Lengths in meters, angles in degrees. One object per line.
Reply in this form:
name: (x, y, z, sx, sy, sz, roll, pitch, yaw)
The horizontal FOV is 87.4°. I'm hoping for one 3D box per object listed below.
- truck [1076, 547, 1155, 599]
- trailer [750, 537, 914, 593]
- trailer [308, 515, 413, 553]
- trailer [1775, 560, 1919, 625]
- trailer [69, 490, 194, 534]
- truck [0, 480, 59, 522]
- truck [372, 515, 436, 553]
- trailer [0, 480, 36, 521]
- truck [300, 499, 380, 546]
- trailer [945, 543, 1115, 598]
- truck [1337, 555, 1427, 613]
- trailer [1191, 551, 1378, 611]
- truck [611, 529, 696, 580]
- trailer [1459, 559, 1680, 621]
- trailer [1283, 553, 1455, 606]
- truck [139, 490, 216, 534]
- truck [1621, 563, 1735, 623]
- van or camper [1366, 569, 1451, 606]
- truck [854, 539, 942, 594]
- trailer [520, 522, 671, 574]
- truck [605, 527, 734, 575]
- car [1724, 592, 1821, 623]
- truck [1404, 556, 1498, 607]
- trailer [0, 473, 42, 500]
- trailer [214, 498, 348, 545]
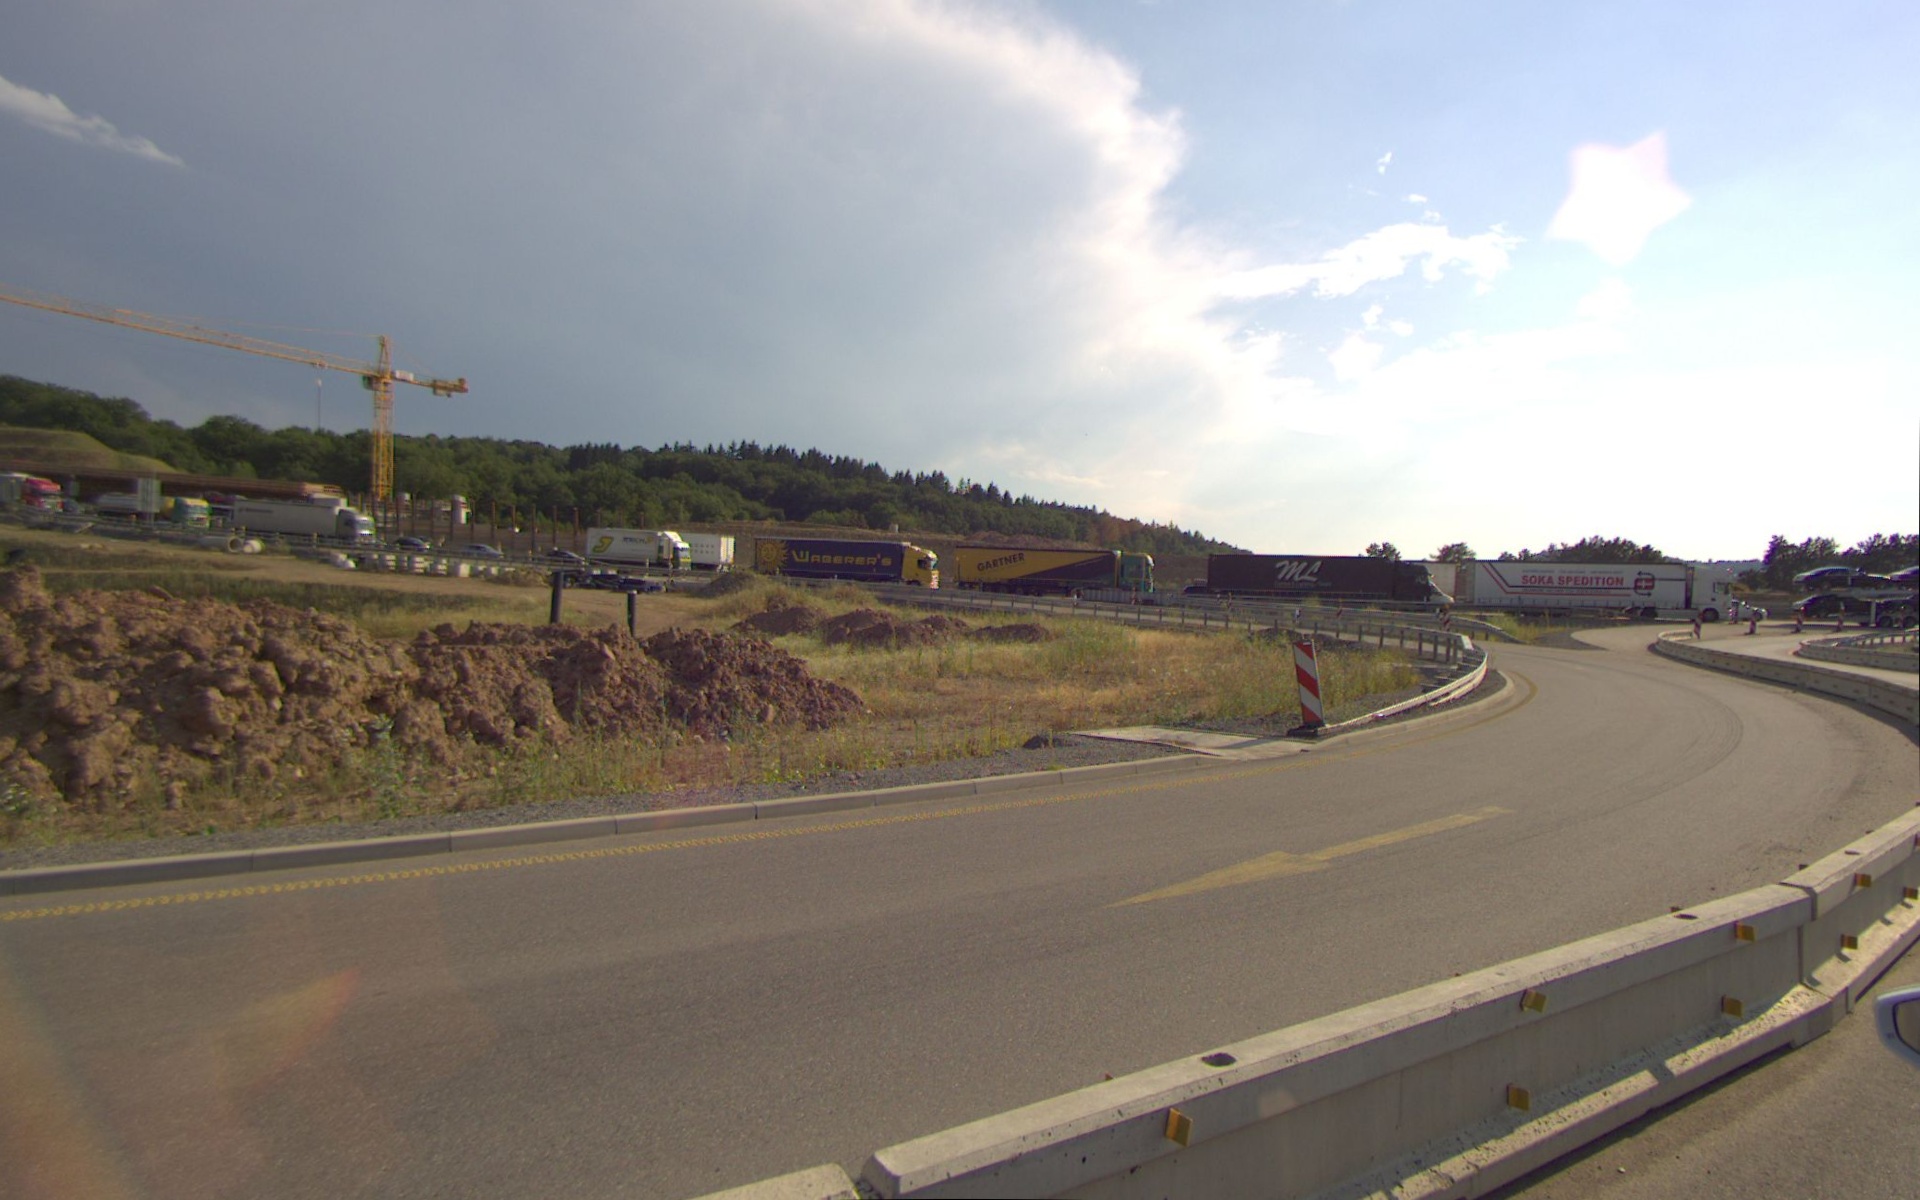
truck: (12.559, -2.164, 80.930, 5.890, 3.954, 2.489, 2, 2, 15)
trailer: (-11.156, -3.067, 87.388, 13.965, 4.371, 3.115, 2, 0, 16)
trailer: (-76.237, -8.392, 127.645, 13.969, 4.371, 3.114, 2, 0, 19)
trailer: (64.214, -0.367, 66.941, 15.428, 4.050, 2.867, 2, 2, 15)
trailer: (-91.109, -9.708, 110.443, 13.965, 4.371, 3.115, 2, 0, 16)
truck: (-106.475, -11.258, 113.932, 6.758, 4.371, 3.115, 2, 0, 16)
truck: (-69.311, -8.182, 125.243, 6.759, 4.371, 3.114, 2, 0, 19)
trailer: (-113.514, -11.531, 115.952, 13.965, 4.371, 3.115, 2, 0, 16)
truck: (-62.769, -7.805, 101.710, 6.758, 4.371, 3.115, 2, 0, 16)
trailer: (5.712, -2.455, 82.805, 13.694, 4.012, 2.489, 2, 2, 15)
truck: (31.736, -1.263, 75.786, 5.891, 4.115, 2.489, 2, 2, 16)
trailer: (24.856, -1.523, 77.667, 13.356, 4.116, 2.489, 2, 2, 15)
truck: (-28.064, -4.190, 92.105, 6.758, 4.371, 3.115, 2, 0, 16)
trailer: (43.749, -0.753, 72.633, 13.356, 3.931, 2.489, 2, 2, 15)
trailer: (34.571, -1.803, 85.527, 13.204, 4.050, 2.867, 2, 2, 15)
truck: (-84.422, -9.440, 108.438, 6.758, 4.371, 3.115, 2, 0, 16)
truck: (50.530, -0.515, 70.860, 5.890, 3.931, 2.489, 2, 2, 15)
van or camper: (35.095, -1.024, 78.758, 5.786, 2.655, 2.000, 2, 2, 18)
truck: (-5.267, -2.817, 85.748, 6.758, 4.371, 3.115, 2, 0, 16)
trailer: (-34.085, -4.861, 93.799, 13.965, 4.371, 3.115, 2, 0, 16)
truck: (-30.182, -5.084, 104.339, 12.911, 4.470, 3.574, 2, 0, 17)
car: (58.062, 0.508, 71.904, 4.879, 2.008, 2.035, 2, 3, 16)
truck: (40.892, -1.561, 83.894, 6.491, 4.050, 2.858, 2, 2, 15)
trailer: (-135.560, -16.213, 142.858, 10.950, 3.561, 1.973, 2, 0, 16)
trailer: (-70.116, -8.108, 103.658, 13.965, 4.371, 3.115, 2, 0, 16)
